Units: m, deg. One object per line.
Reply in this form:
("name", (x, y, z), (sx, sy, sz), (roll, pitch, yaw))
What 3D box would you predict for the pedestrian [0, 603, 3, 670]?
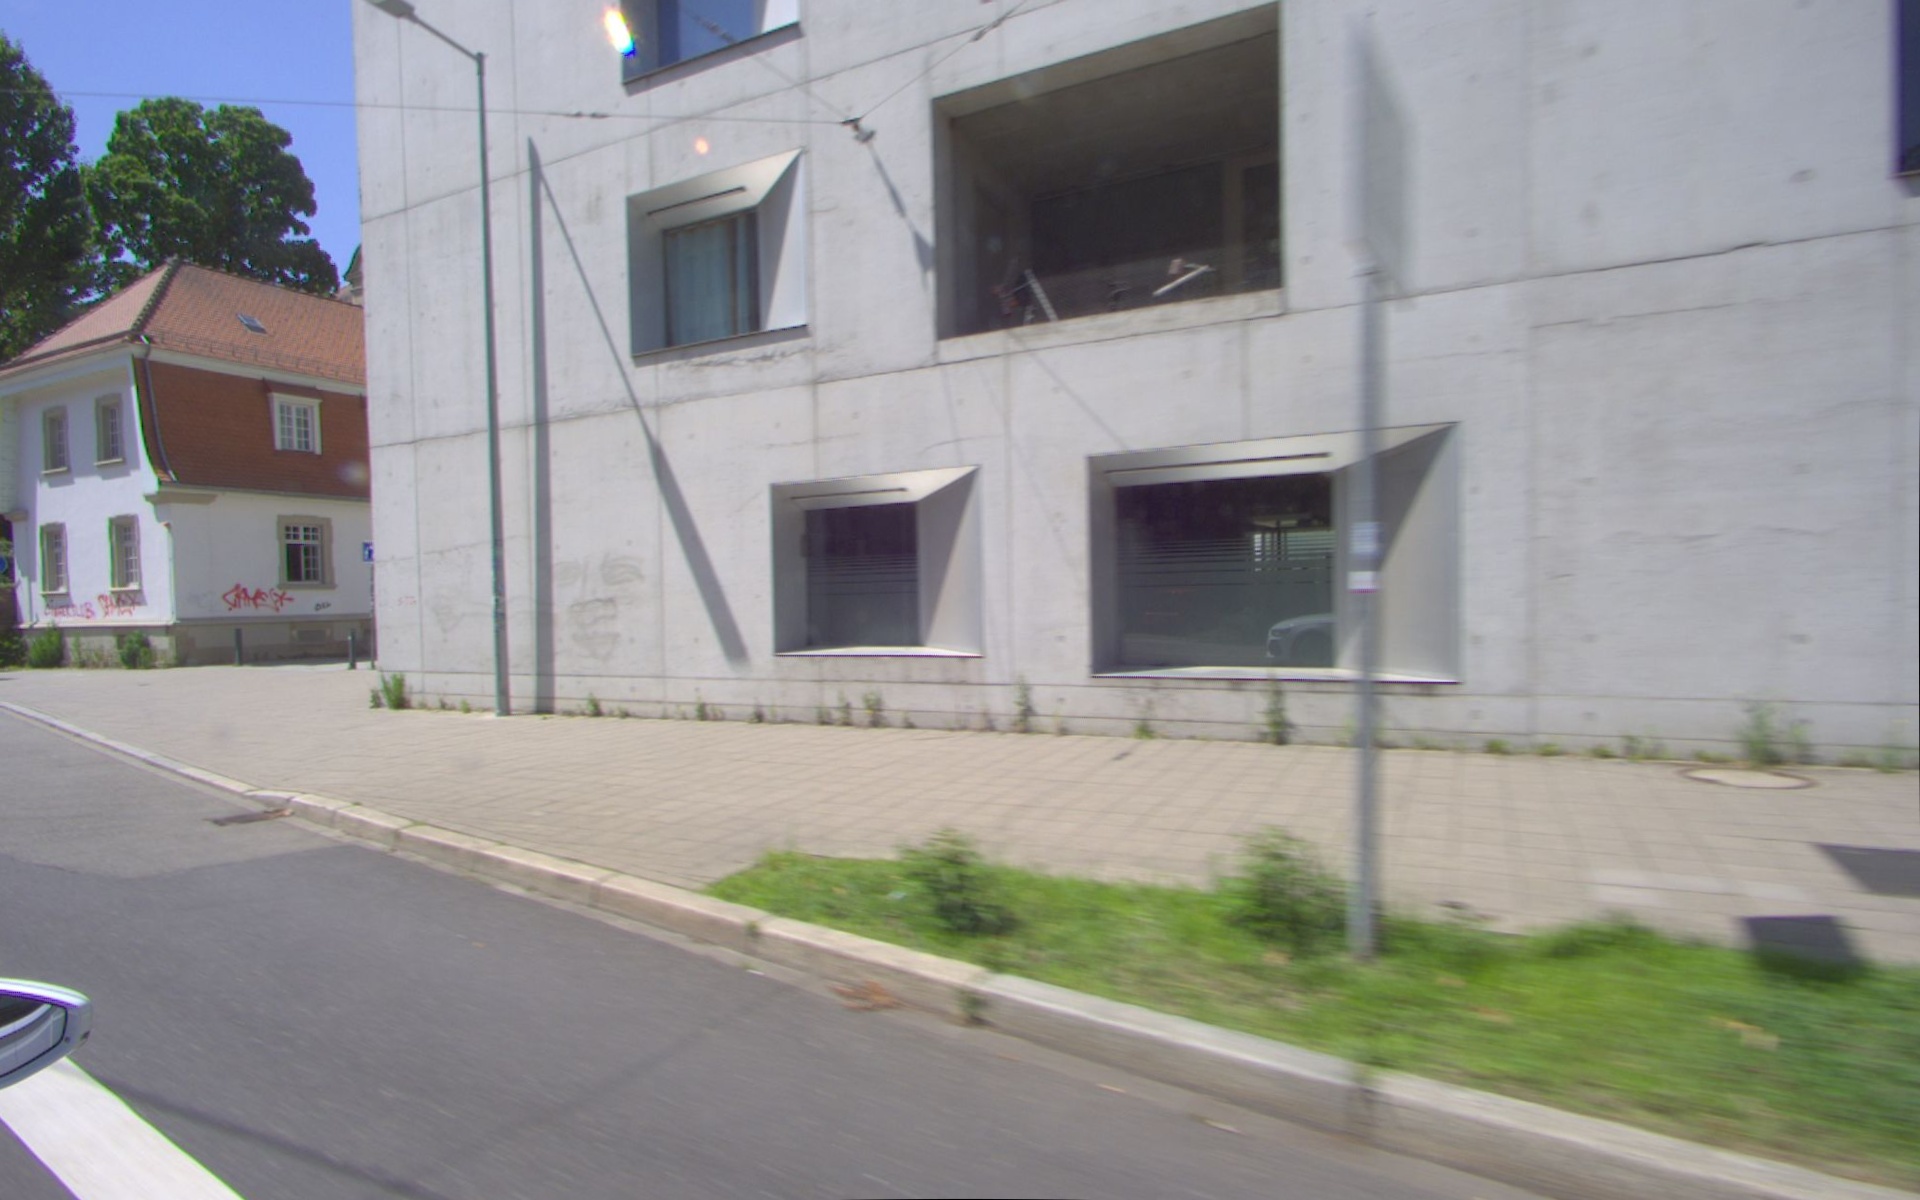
("pedestrian", (-26.336, 0.994, 27.015), (0.709, 1.796, 0.625), (-1, -1, 36))
